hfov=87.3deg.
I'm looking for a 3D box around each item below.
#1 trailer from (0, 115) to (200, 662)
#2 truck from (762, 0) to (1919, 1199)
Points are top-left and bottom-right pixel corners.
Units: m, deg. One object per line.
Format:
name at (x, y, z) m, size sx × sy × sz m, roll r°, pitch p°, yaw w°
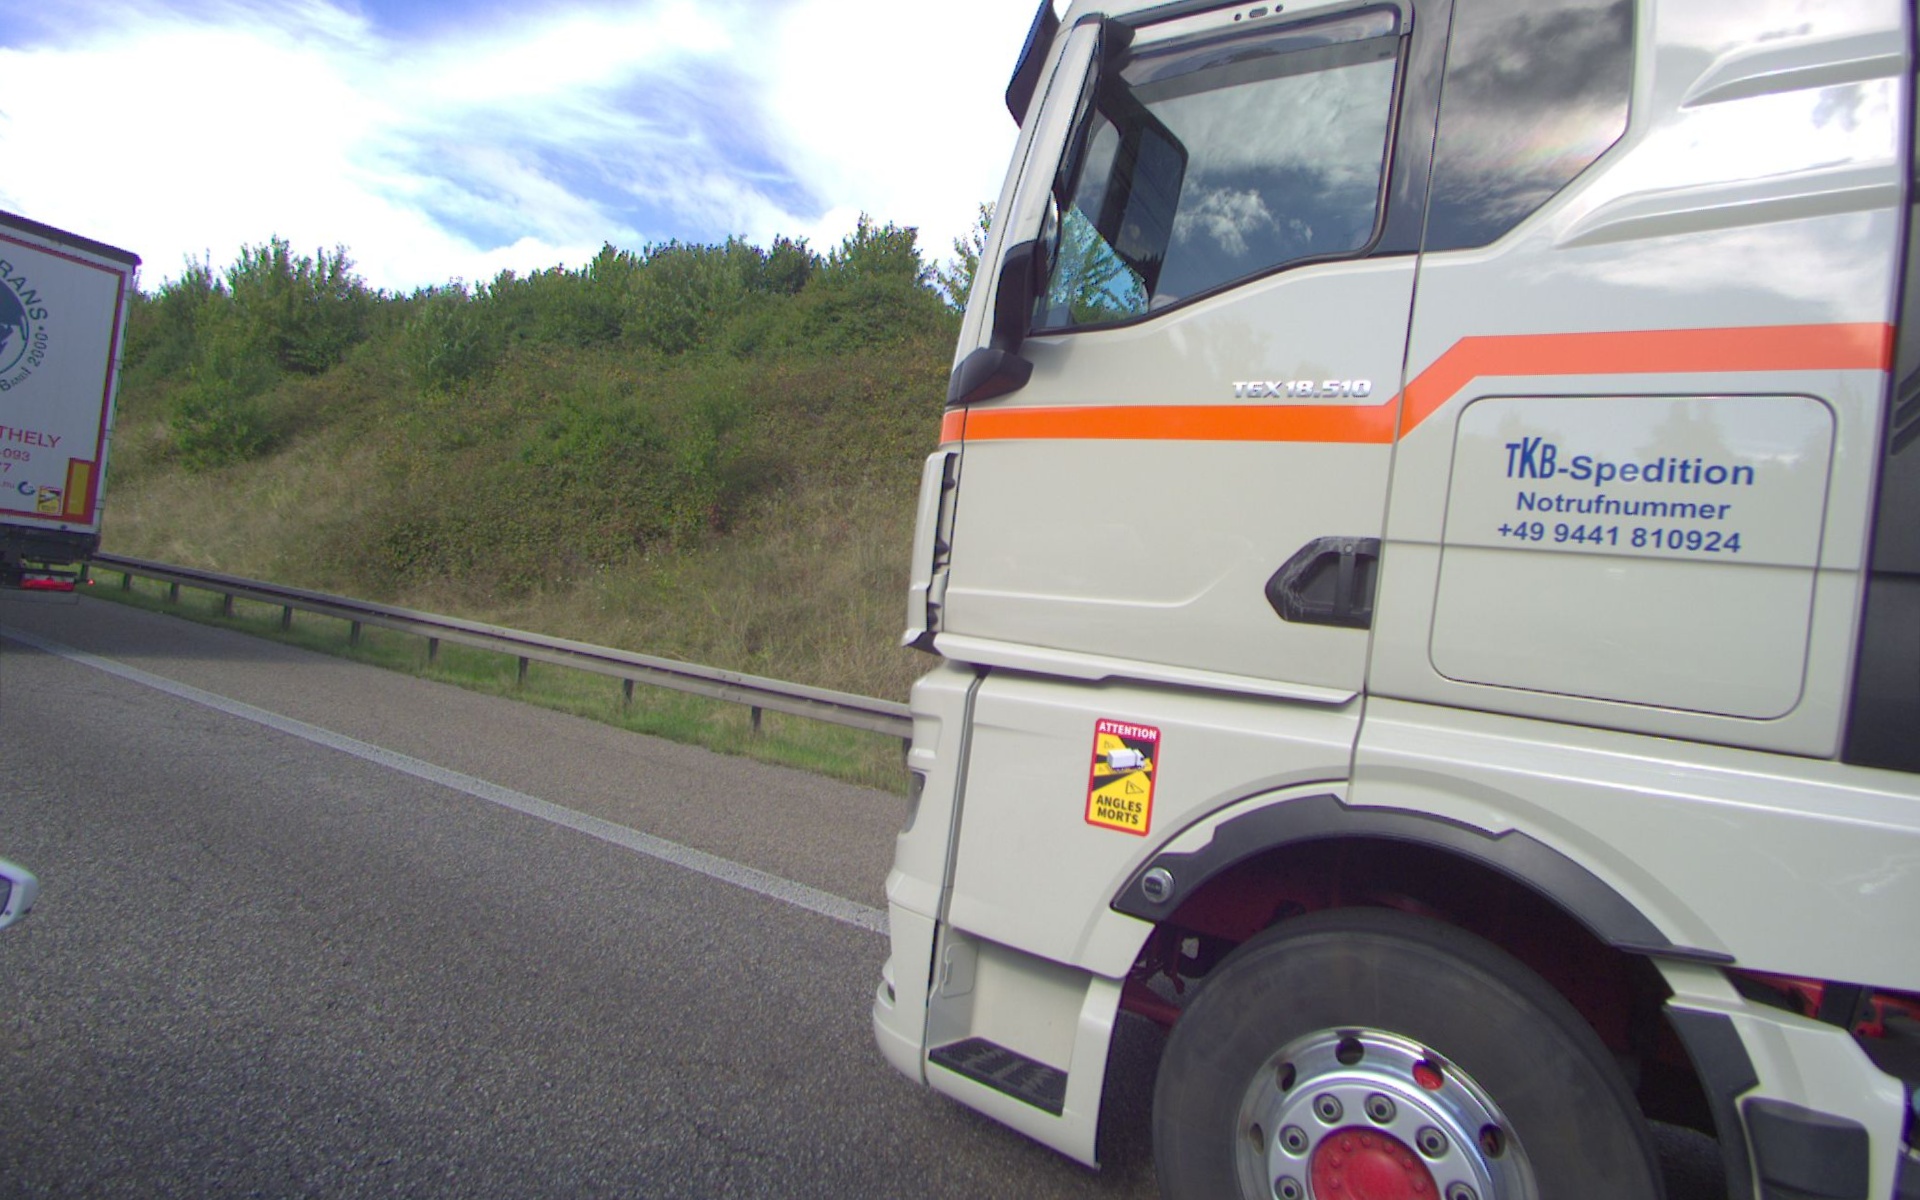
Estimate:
trailer at (-14.206, -2.537, 12.042) m, size 13.066 × 4.715 × 3.008 m, roll 7°, pitch -1°, yaw 31°
truck at (2.908, -0.149, 2.237) m, size 5.806 × 4.091 × 2.807 m, roll 7°, pitch -1°, yaw 32°
